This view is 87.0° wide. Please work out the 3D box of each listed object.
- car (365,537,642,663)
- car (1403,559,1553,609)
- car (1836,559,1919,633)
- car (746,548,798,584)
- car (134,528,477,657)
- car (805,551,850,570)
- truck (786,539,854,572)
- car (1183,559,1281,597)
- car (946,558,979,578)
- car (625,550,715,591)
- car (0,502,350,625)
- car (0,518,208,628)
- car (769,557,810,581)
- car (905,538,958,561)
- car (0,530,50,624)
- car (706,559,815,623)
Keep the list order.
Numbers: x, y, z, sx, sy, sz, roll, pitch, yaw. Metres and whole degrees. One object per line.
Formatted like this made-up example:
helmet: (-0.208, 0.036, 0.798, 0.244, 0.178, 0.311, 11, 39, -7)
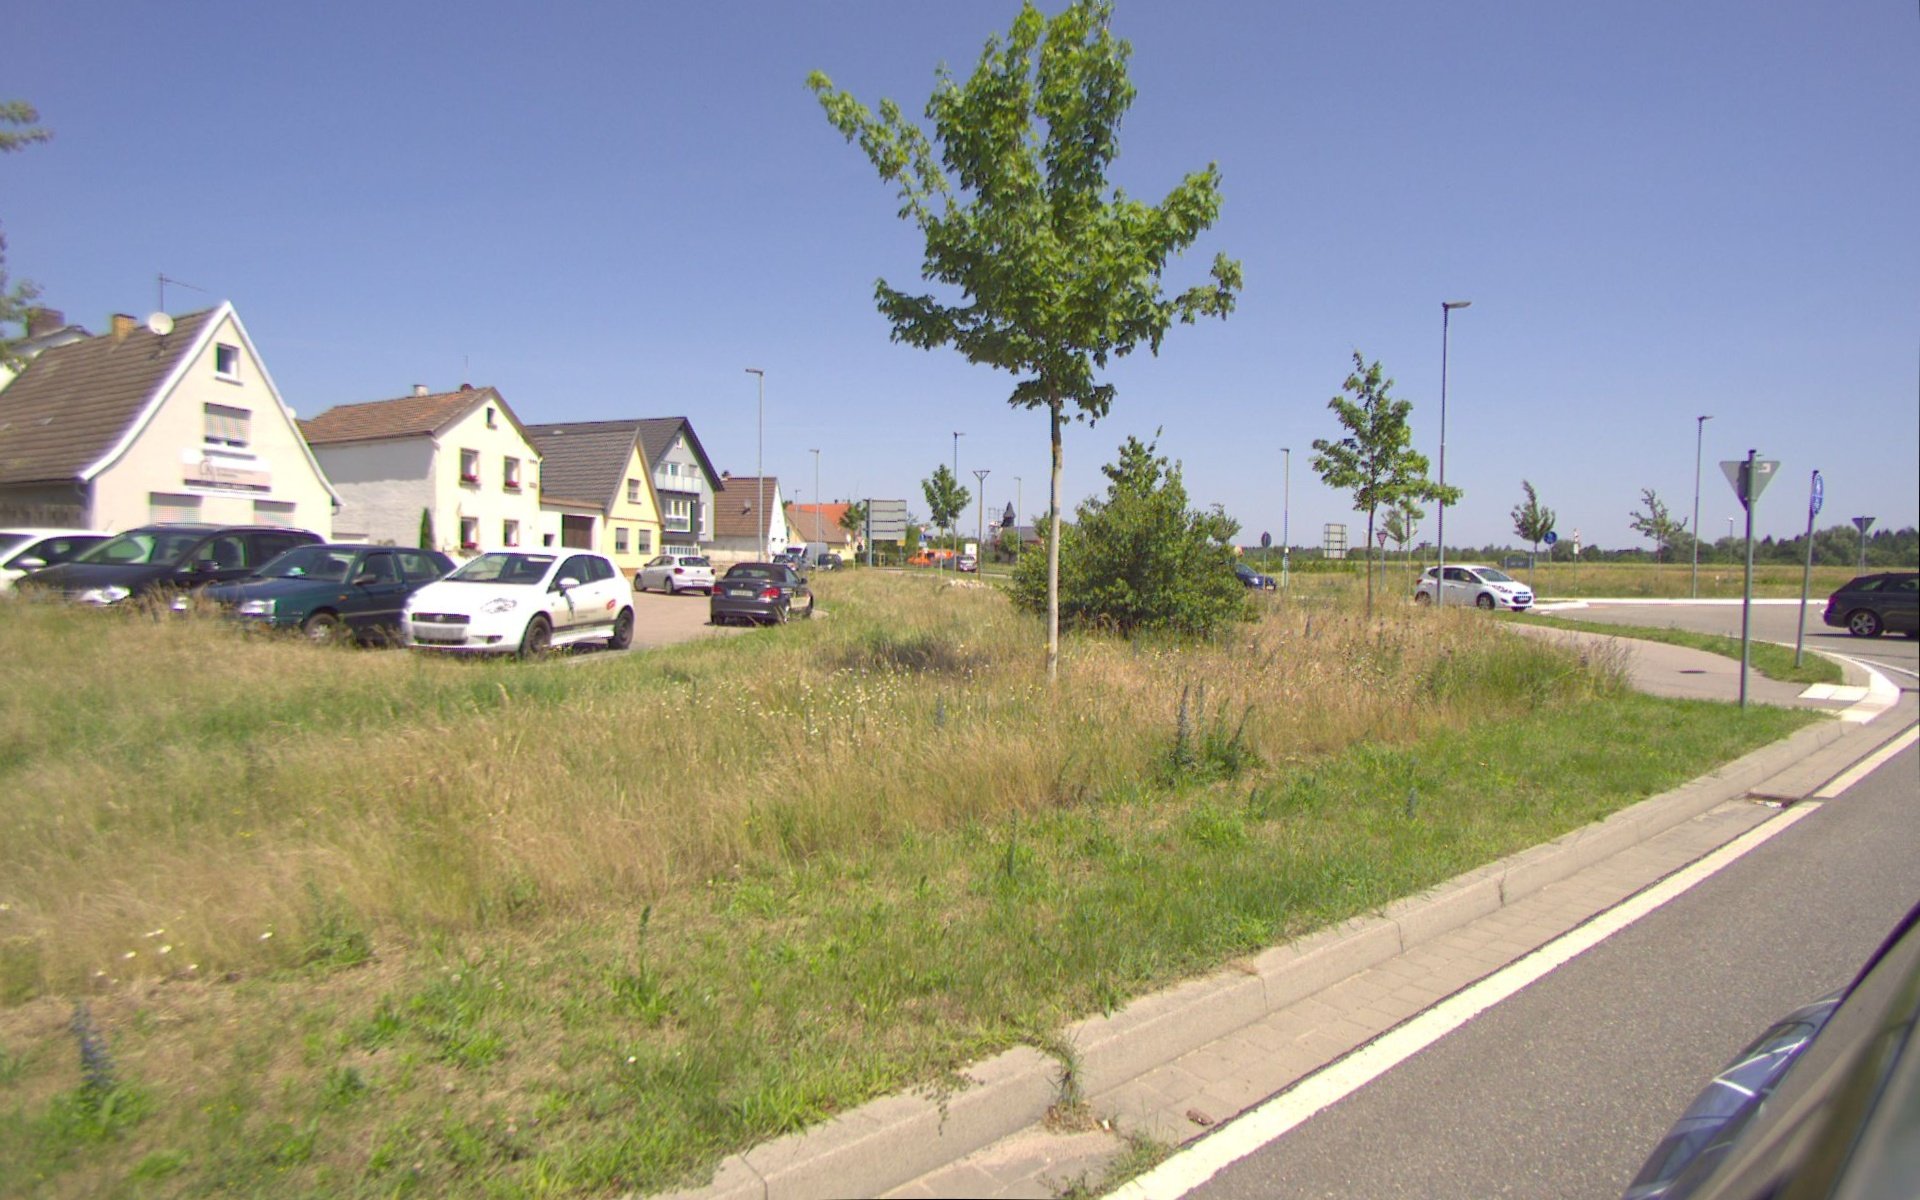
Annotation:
car: (-5.989, -0.082, 13.843, 1.717, 1.445, 3.996, 1, 2, 5)
car: (18.138, -0.628, 35.677, 1.831, 1.580, 4.530, -1, 3, -25)
car: (20.743, -0.030, 20.296, 1.830, 1.451, 4.532, -2, 4, -14)
car: (-9.954, -1.826, 53.943, 1.821, 1.853, 3.998, 1, 2, 4)
car: (-8.536, -0.110, 13.680, 1.744, 1.461, 3.958, 1, 1, 7)
car: (-10.000, -2.949, 76.408, 1.832, 1.367, 3.743, 2, 2, 21)
truck: (-11.203, -3.553, 81.467, 2.225, 2.537, 5.562, 2, 3, 37)
car: (12.195, -1.029, 45.630, 1.689, 1.580, 4.152, -2, 3, -35)
car: (0.197, -2.792, 86.685, 1.859, 1.636, 4.010, 1, 2, -15)
car: (-10.593, -1.095, 36.838, 1.622, 1.410, 3.995, -1, 3, -41)
car: (-10.780, -0.468, 14.179, 1.744, 1.461, 3.958, 1, 1, 7)
car: (-13.427, -0.388, 14.725, 1.744, 1.461, 3.958, 1, 1, 7)
car: (-11.195, -2.075, 66.717, 1.821, 1.514, 3.998, 1, 2, 4)
car: (-3.430, -6.063, 121.884, 6.060, 2.616, 2.342, 2, 2, 20)
car: (-15.963, -0.358, 14.683, 1.743, 1.461, 3.960, 1, 1, 6)
car: (-4.552, -0.269, 23.663, 1.714, 1.327, 4.001, 1, 2, 1)
